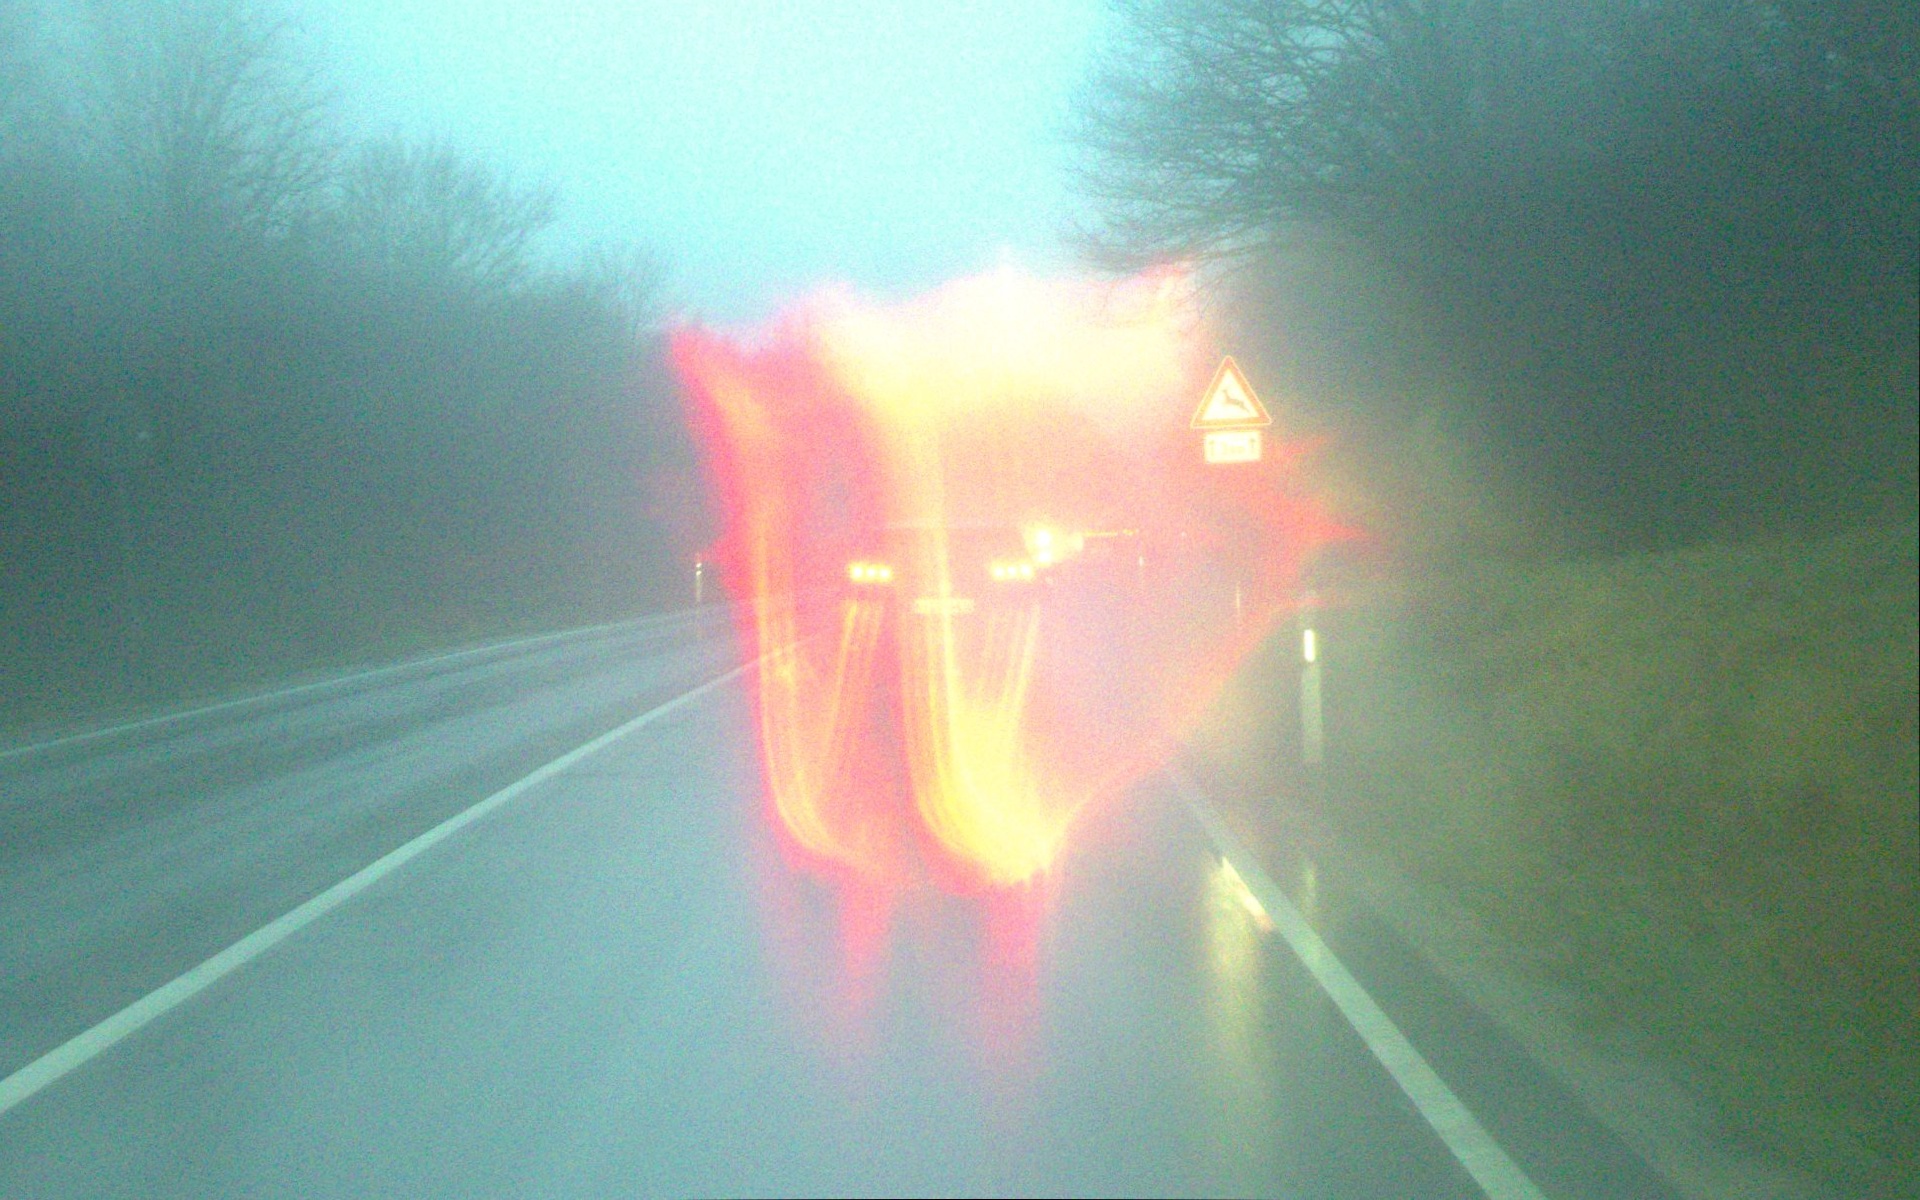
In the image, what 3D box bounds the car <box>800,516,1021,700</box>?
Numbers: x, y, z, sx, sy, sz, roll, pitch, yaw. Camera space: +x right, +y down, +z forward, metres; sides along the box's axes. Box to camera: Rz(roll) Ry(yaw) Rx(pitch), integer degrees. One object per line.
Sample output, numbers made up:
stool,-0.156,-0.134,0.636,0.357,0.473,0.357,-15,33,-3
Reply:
car,-0.376,0.017,28.856,1.678,1.385,4.098,-2,1,0
